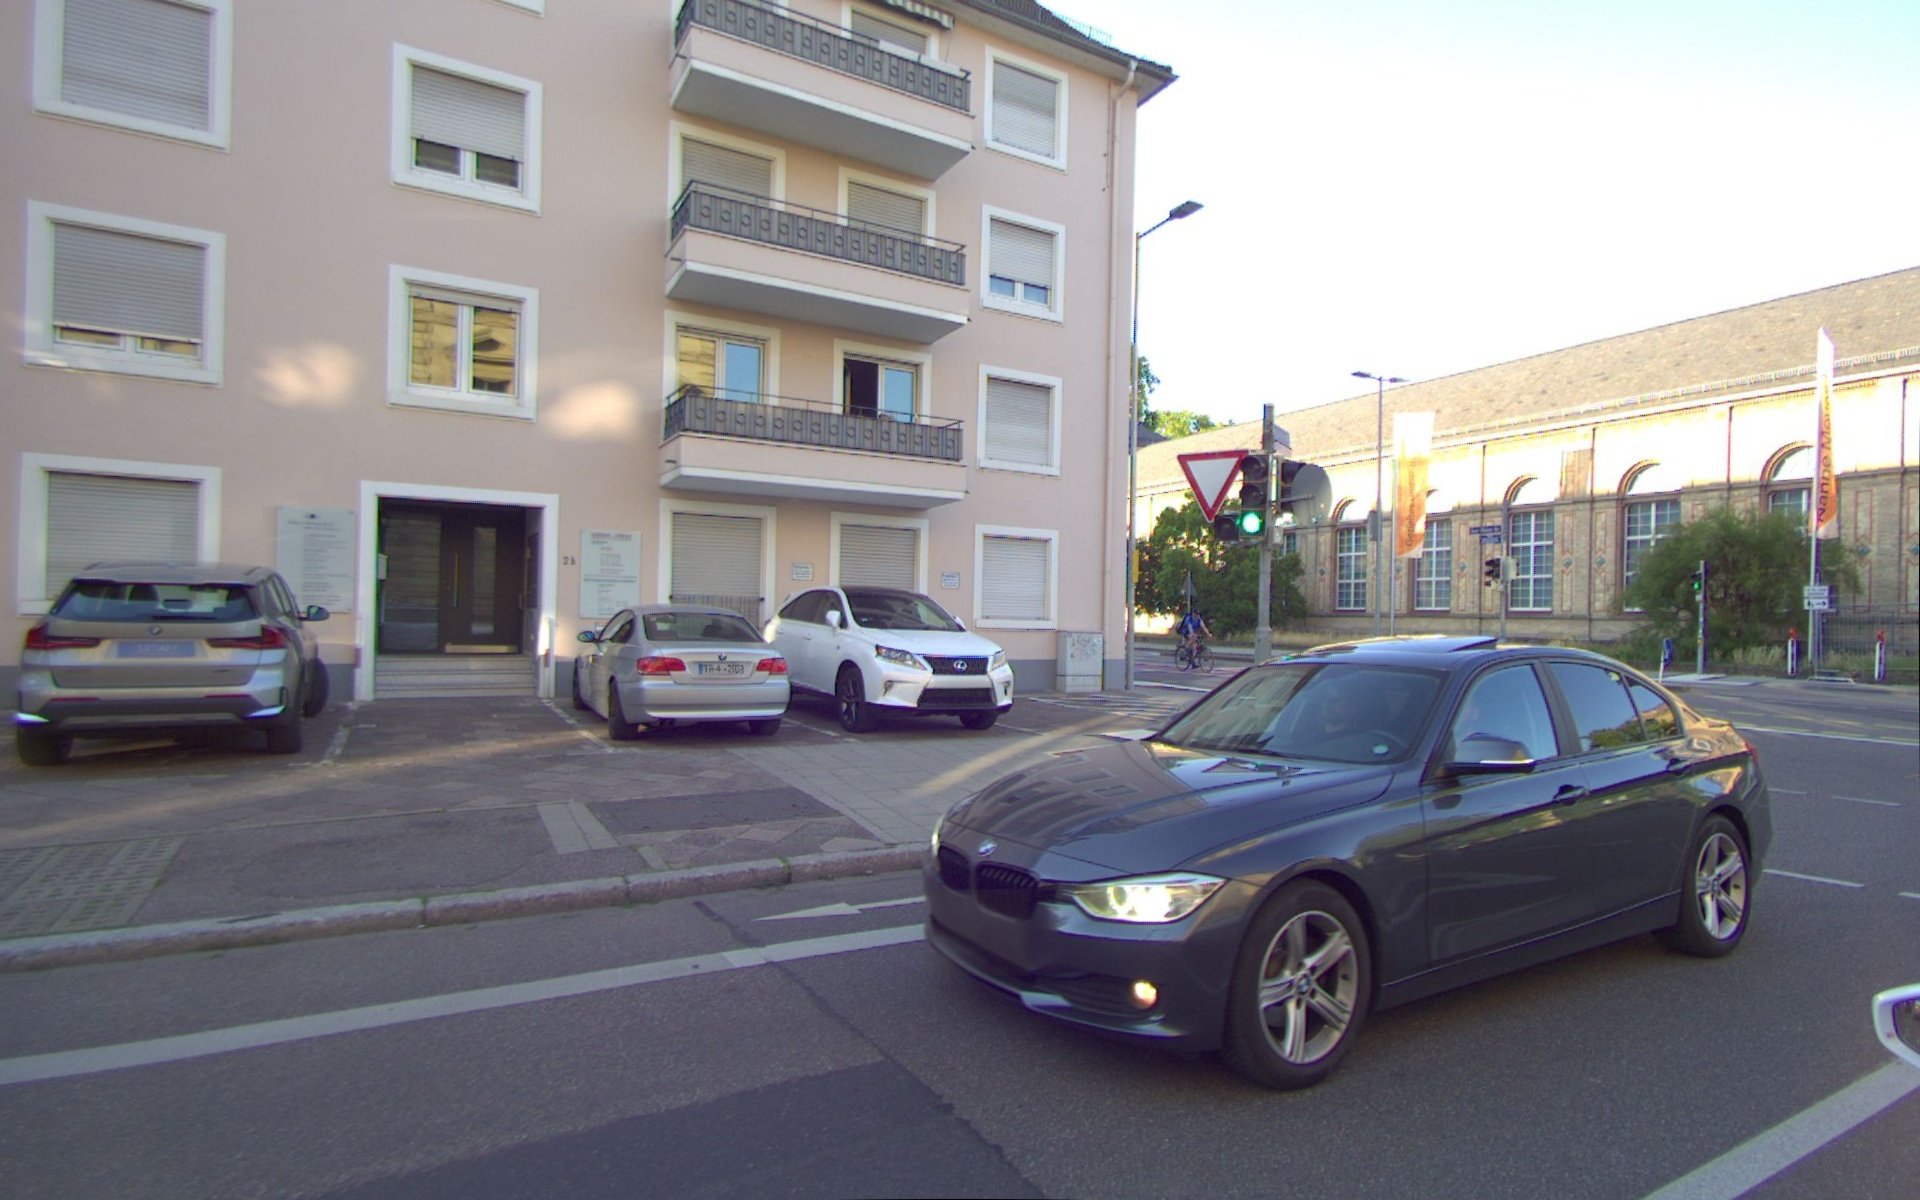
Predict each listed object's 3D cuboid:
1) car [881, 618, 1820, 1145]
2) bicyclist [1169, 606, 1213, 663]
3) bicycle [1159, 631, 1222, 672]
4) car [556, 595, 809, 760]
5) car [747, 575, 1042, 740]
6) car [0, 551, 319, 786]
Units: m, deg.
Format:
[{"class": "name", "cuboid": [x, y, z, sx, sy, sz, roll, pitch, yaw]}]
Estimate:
[{"class": "car", "cuboid": [1.990, 0.875, 4.710, 4.371, 1.478, 1.774, 2, -2, -30]}, {"class": "bicyclist", "cuboid": [6.561, 0.971, 28.594, 0.703, 1.565, 1.119, 1, -1, -23]}, {"class": "bicycle", "cuboid": [6.541, 1.444, 28.628, 0.713, 1.082, 1.990, 1, -1, -22]}, {"class": "car", "cuboid": [-3.341, 0.721, 11.455, 1.716, 1.399, 4.244, 1, 1, -31]}, {"class": "car", "cuboid": [-1.039, 0.566, 12.721, 1.920, 1.663, 4.417, 1, 1, -31]}, {"class": "car", "cuboid": [-7.133, 0.430, 9.250, 1.894, 1.626, 4.395, 1, 1, -31]}]
